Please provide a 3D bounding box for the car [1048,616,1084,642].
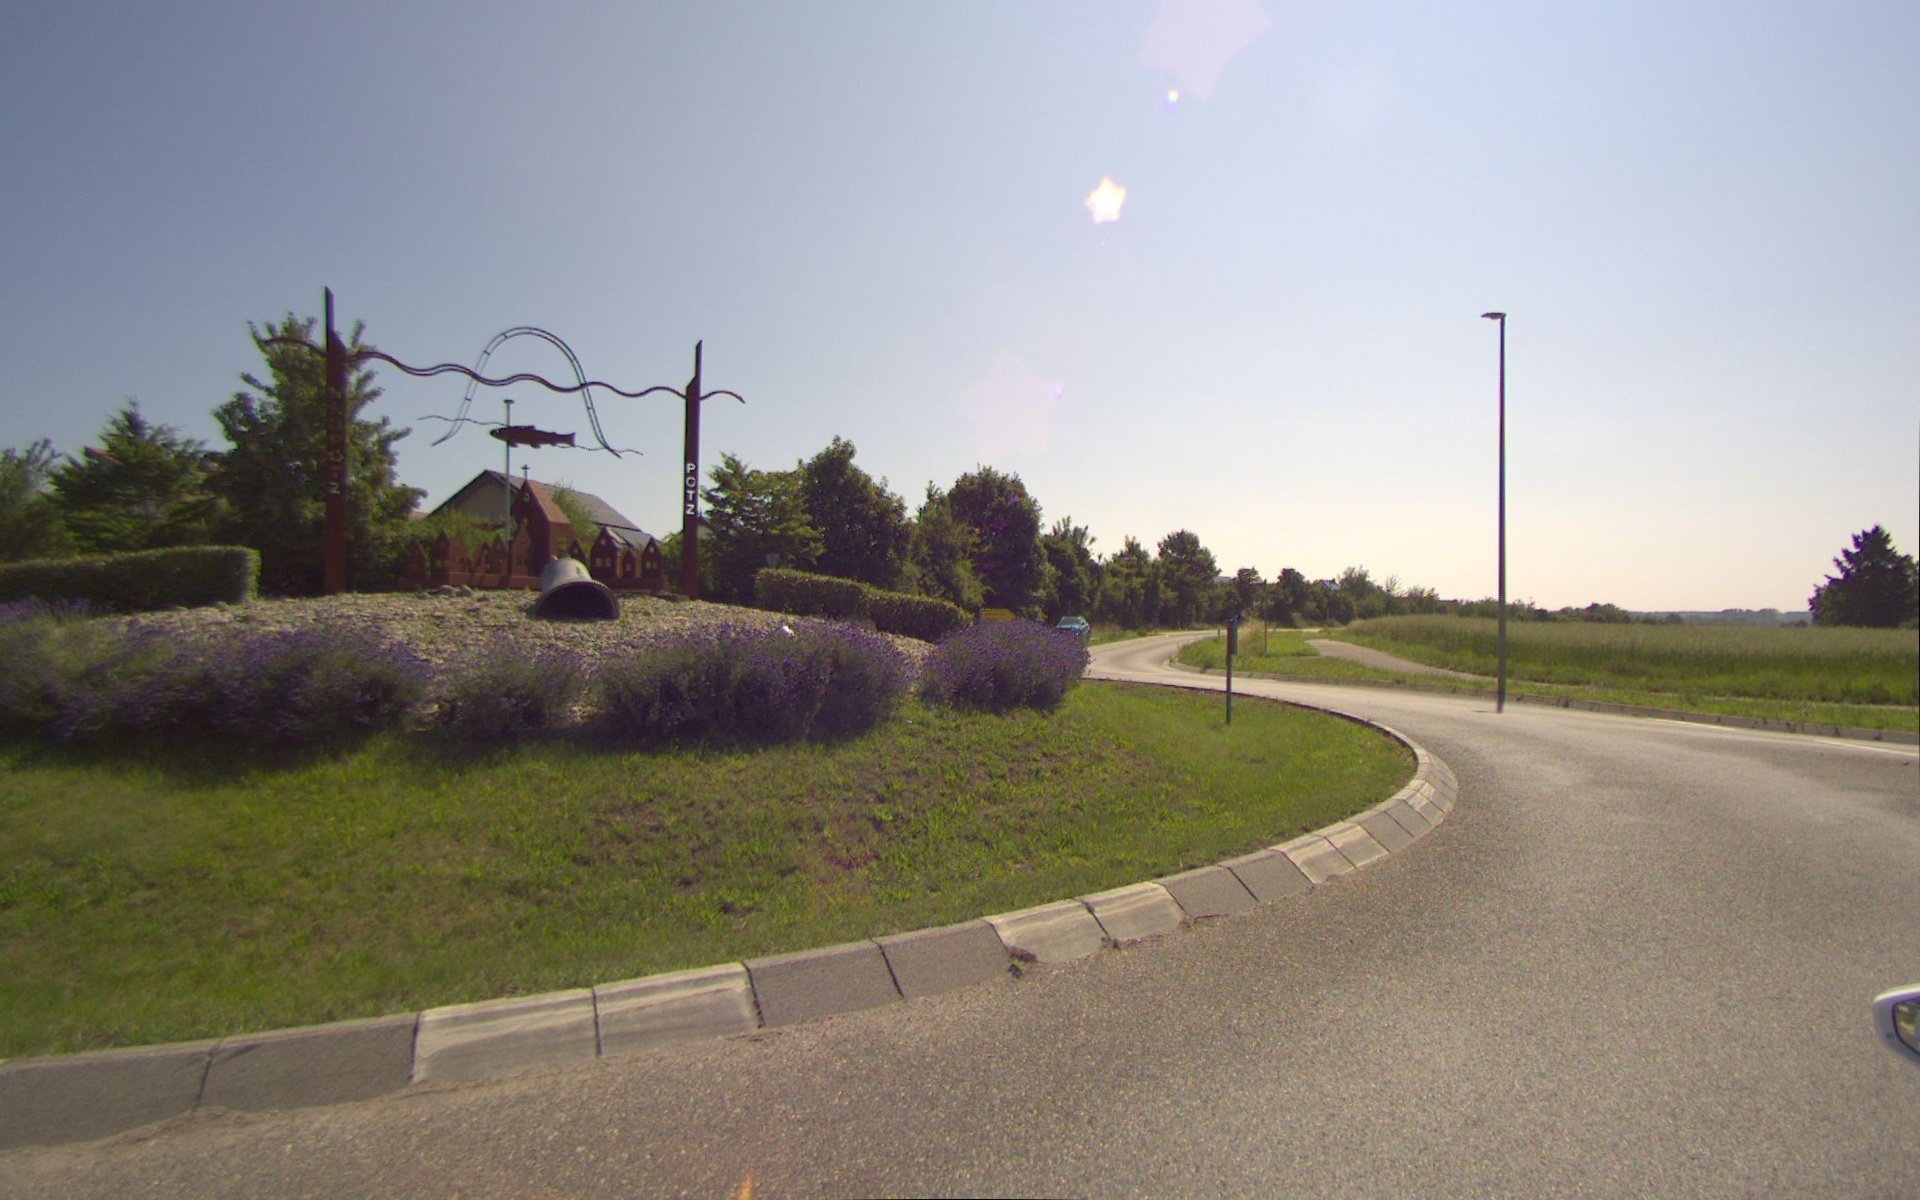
[{"bbox_3d":[6.938,1.873,65.254,1.616,1.597,4.002,1,-1,16],"label":"car"}]
